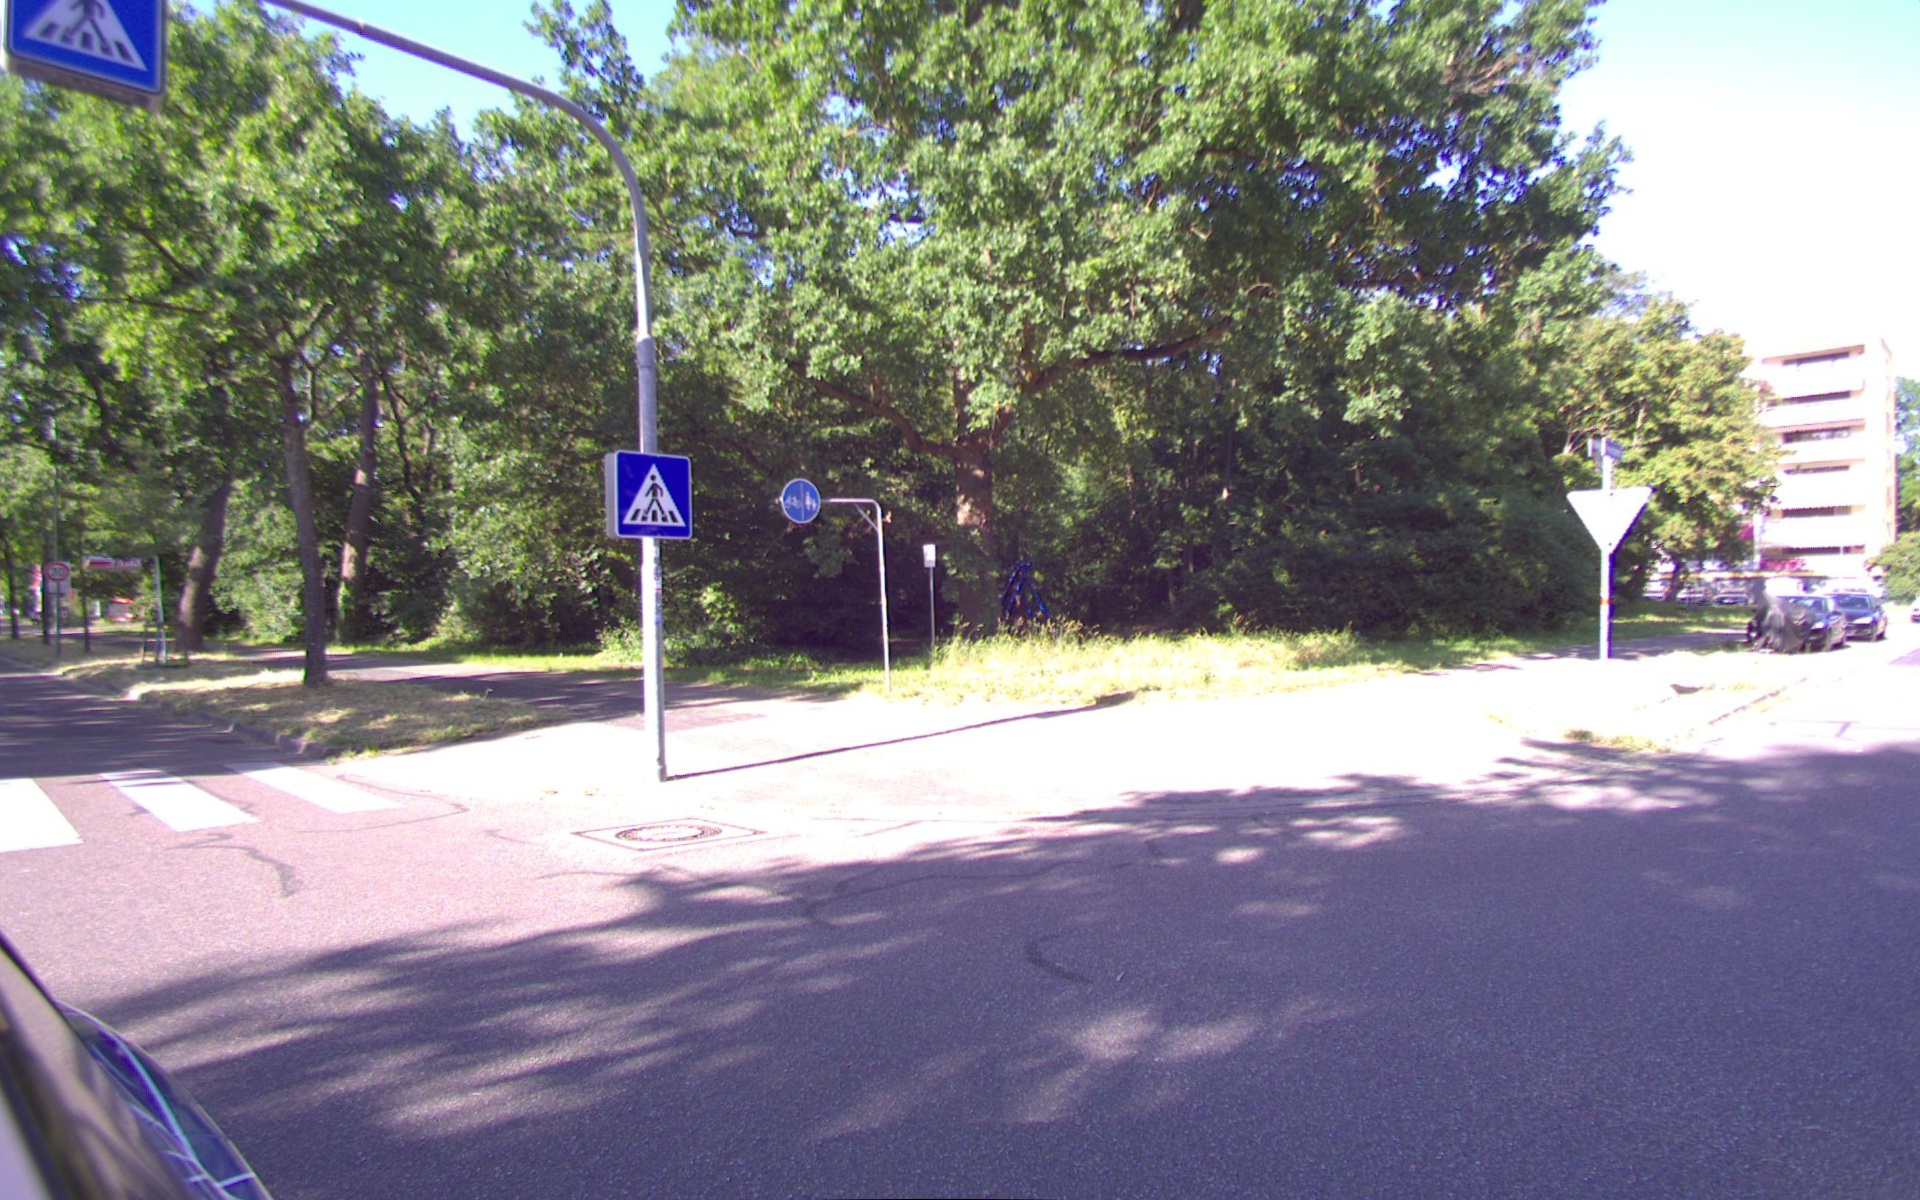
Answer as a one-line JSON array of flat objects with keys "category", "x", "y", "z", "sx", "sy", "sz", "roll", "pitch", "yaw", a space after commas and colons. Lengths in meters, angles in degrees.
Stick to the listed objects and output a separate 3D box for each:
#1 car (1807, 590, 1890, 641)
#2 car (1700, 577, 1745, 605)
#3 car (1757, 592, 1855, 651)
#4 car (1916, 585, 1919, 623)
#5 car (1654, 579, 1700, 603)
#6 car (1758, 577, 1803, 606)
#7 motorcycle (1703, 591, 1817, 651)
[{"category": "car", "x": 26.697, "y": 0.446, "z": 30.365, "sx": 3.535, "sy": 1.402, "sz": 1.561, "roll": -1, "pitch": 0, "yaw": -44}, {"category": "car", "x": 49.876, "y": -0.588, "z": 66.173, "sx": 3.779, "sy": 1.757, "sz": 1.764, "roll": -1, "pitch": 0, "yaw": -44}, {"category": "car", "x": 22.106, "y": 0.521, "z": 26.412, "sx": 3.535, "sy": 1.402, "sz": 1.561, "roll": -1, "pitch": 0, "yaw": -44}, {"category": "car", "x": 41.474, "y": 0.117, "z": 42.554, "sx": 3.779, "sy": 1.569, "sz": 1.647, "roll": -1, "pitch": 0, "yaw": -44}, {"category": "car", "x": 47.932, "y": -0.633, "z": 67.632, "sx": 3.779, "sy": 1.538, "sz": 1.802, "roll": -1, "pitch": 0, "yaw": -44}, {"category": "car", "x": 51.670, "y": -0.567, "z": 63.709, "sx": 3.779, "sy": 1.757, "sz": 1.764, "roll": -1, "pitch": 0, "yaw": -44}, {"category": "motorcycle", "x": 18.682, "y": 0.488, "z": 23.679, "sx": 1.944, "sy": 1.354, "sz": 0.672, "roll": -1, "pitch": 0, "yaw": 16}]
